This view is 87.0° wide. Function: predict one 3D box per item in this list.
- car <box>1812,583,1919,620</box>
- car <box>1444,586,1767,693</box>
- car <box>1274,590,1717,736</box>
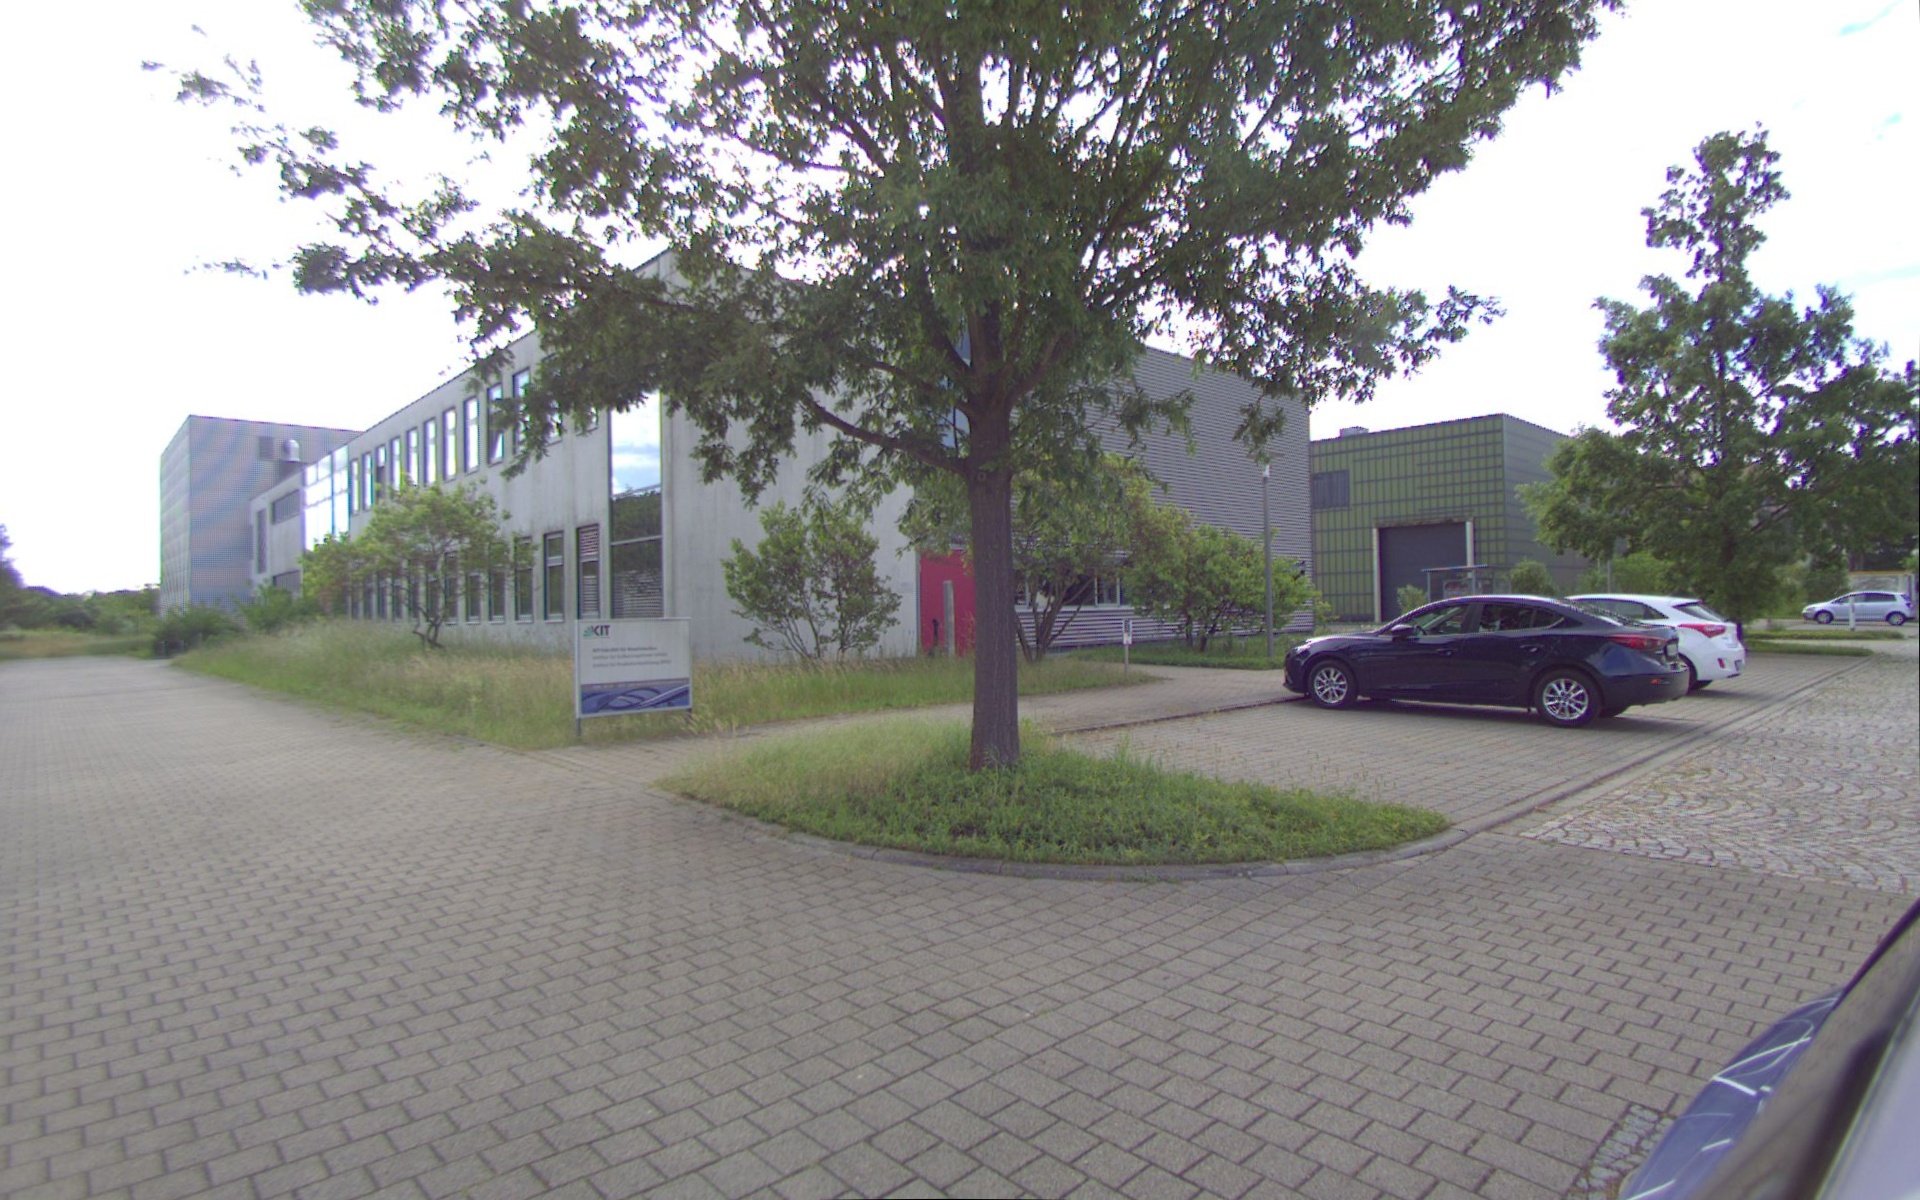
[{"bbox_3d":[42.811,0.030,47.557,4.122,1.645,1.908,1,1,45],"label":"car"},{"bbox_3d":[10.091,0.558,16.033,1.851,1.485,3.979,0,0,-43],"label":"car"},{"bbox_3d":[6.385,0.619,12.464,1.912,1.465,4.468,0,0,-43],"label":"car"}]
